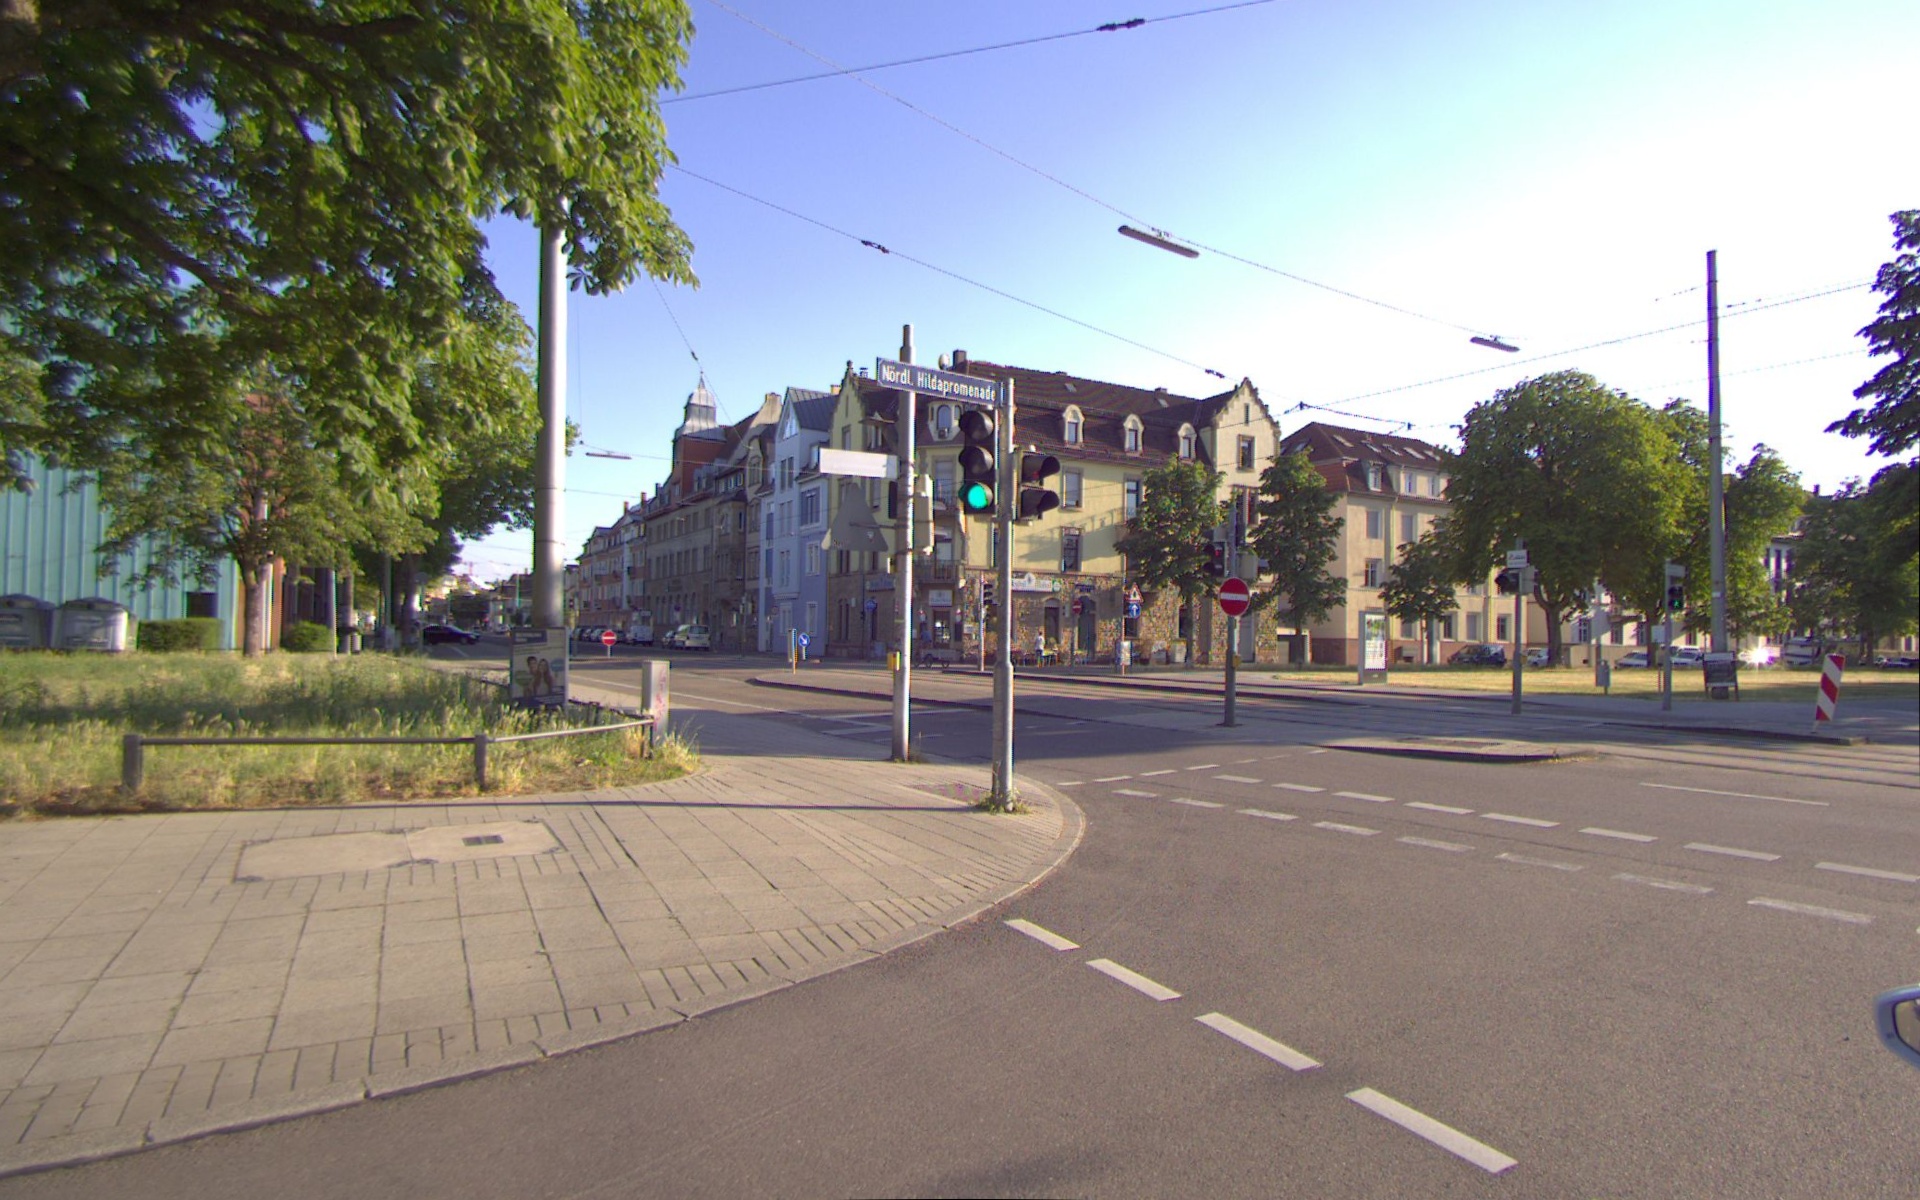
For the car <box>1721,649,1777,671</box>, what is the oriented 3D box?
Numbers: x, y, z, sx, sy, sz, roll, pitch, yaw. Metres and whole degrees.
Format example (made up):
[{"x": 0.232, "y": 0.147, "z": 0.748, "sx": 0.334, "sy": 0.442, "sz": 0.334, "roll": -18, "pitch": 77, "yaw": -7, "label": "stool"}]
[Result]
[{"x": 66.975, "y": 5.088, "z": 85.217, "sx": 4.512, "sy": 1.681, "sz": 1.986, "roll": 3, "pitch": 0, "yaw": -27, "label": "car"}]

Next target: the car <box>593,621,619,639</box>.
[{"x": -38.050, "y": 3.255, "z": 107.936, "sx": 1.814, "sy": 1.692, "sz": 3.915, "roll": 3, "pitch": 0, "yaw": -31, "label": "car"}]

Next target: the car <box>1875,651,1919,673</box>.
[{"x": 81.298, "y": 5.347, "z": 86.858, "sx": 4.262, "sy": 1.696, "sz": 1.872, "roll": 3, "pitch": 0, "yaw": -28, "label": "car"}]

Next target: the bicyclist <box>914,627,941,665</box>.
[{"x": -1.513, "y": 2.137, "z": 46.956, "sx": 0.863, "sy": 1.745, "sz": 1.142, "roll": 3, "pitch": -3, "yaw": -23, "label": "bicyclist"}]

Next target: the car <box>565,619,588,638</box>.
[{"x": -46.681, "y": 3.429, "z": 122.226, "sx": 1.803, "sy": 2.040, "sz": 3.928, "roll": 3, "pitch": 0, "yaw": -31, "label": "car"}]

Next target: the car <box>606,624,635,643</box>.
[{"x": -34.961, "y": 3.449, "z": 103.328, "sx": 1.978, "sy": 1.693, "sz": 3.747, "roll": 3, "pitch": 0, "yaw": -31, "label": "car"}]

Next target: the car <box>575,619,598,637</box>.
[{"x": -43.802, "y": 3.281, "z": 117.694, "sx": 1.780, "sy": 1.855, "sz": 3.760, "roll": 3, "pitch": 0, "yaw": -31, "label": "car"}]

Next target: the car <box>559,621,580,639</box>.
[{"x": -49.376, "y": 3.730, "z": 126.931, "sx": 1.787, "sy": 2.040, "sz": 3.777, "roll": 3, "pitch": 0, "yaw": -30, "label": "car"}]

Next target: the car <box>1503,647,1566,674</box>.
[{"x": 40.729, "y": 4.306, "z": 71.192, "sx": 3.949, "sy": 1.681, "sz": 1.986, "roll": 3, "pitch": 0, "yaw": -27, "label": "car"}]

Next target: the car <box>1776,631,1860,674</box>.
[{"x": 67.936, "y": 4.192, "z": 79.486, "sx": 7.756, "sy": 3.173, "sz": 2.382, "roll": 2, "pitch": 1, "yaw": -28, "label": "car"}]

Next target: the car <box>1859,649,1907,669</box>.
[{"x": 88.143, "y": 5.662, "z": 95.927, "sx": 4.318, "sy": 1.681, "sz": 1.986, "roll": 3, "pitch": 0, "yaw": -27, "label": "car"}]

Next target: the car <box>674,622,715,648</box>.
[{"x": -20.330, "y": 2.680, "z": 76.752, "sx": 2.009, "sy": 1.759, "sz": 3.747, "roll": 3, "pitch": 0, "yaw": -31, "label": "car"}]

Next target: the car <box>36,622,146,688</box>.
[{"x": -27.581, "y": 1.697, "z": 32.053, "sx": 1.948, "sy": 1.693, "sz": 5.174, "roll": 3, "pitch": 0, "yaw": -34, "label": "car"}]

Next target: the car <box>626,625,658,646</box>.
[{"x": -29.457, "y": 3.277, "z": 92.982, "sx": 1.978, "sy": 1.693, "sz": 3.747, "roll": 3, "pitch": 0, "yaw": -31, "label": "car"}]

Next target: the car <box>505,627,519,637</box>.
[{"x": -69.284, "y": 4.979, "z": 155.298, "sx": 1.532, "sy": 1.387, "sz": 3.432, "roll": 3, "pitch": 0, "yaw": -31, "label": "car"}]

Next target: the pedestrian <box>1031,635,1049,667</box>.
[{"x": 4.211, "y": 2.709, "z": 52.992, "sx": 0.675, "sy": 1.646, "sz": 0.613, "roll": 3, "pitch": 0, "yaw": -30, "label": "pedestrian"}]

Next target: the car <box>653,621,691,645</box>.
[{"x": -23.447, "y": 2.646, "z": 81.601, "sx": 1.977, "sy": 1.763, "sz": 3.967, "roll": 2, "pitch": -1, "yaw": -31, "label": "car"}]

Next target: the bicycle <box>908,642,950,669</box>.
[{"x": -1.468, "y": 2.581, "z": 46.808, "sx": 0.863, "sy": 1.176, "sz": 3.067, "roll": 3, "pitch": -3, "yaw": -23, "label": "bicycle"}]

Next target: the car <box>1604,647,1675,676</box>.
[{"x": 45.718, "y": 4.134, "z": 67.533, "sx": 4.512, "sy": 1.681, "sz": 1.986, "roll": 3, "pitch": 0, "yaw": -27, "label": "car"}]

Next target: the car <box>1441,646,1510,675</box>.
[{"x": 34.896, "y": 4.108, "z": 68.007, "sx": 4.256, "sy": 1.759, "sz": 1.986, "roll": 3, "pitch": 0, "yaw": -27, "label": "car"}]

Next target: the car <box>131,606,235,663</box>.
[{"x": -25.599, "y": 1.126, "z": 33.277, "sx": 1.977, "sy": 1.693, "sz": 5.182, "roll": 3, "pitch": -2, "yaw": -30, "label": "car"}]

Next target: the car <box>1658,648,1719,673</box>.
[{"x": 50.871, "y": 4.243, "z": 70.109, "sx": 4.367, "sy": 1.575, "sz": 1.787, "roll": 2, "pitch": 1, "yaw": -30, "label": "car"}]

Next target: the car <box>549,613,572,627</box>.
[{"x": -55.579, "y": 2.727, "z": 139.689, "sx": 1.909, "sy": 1.715, "sz": 3.957, "roll": 3, "pitch": 0, "yaw": -37, "label": "car"}]
